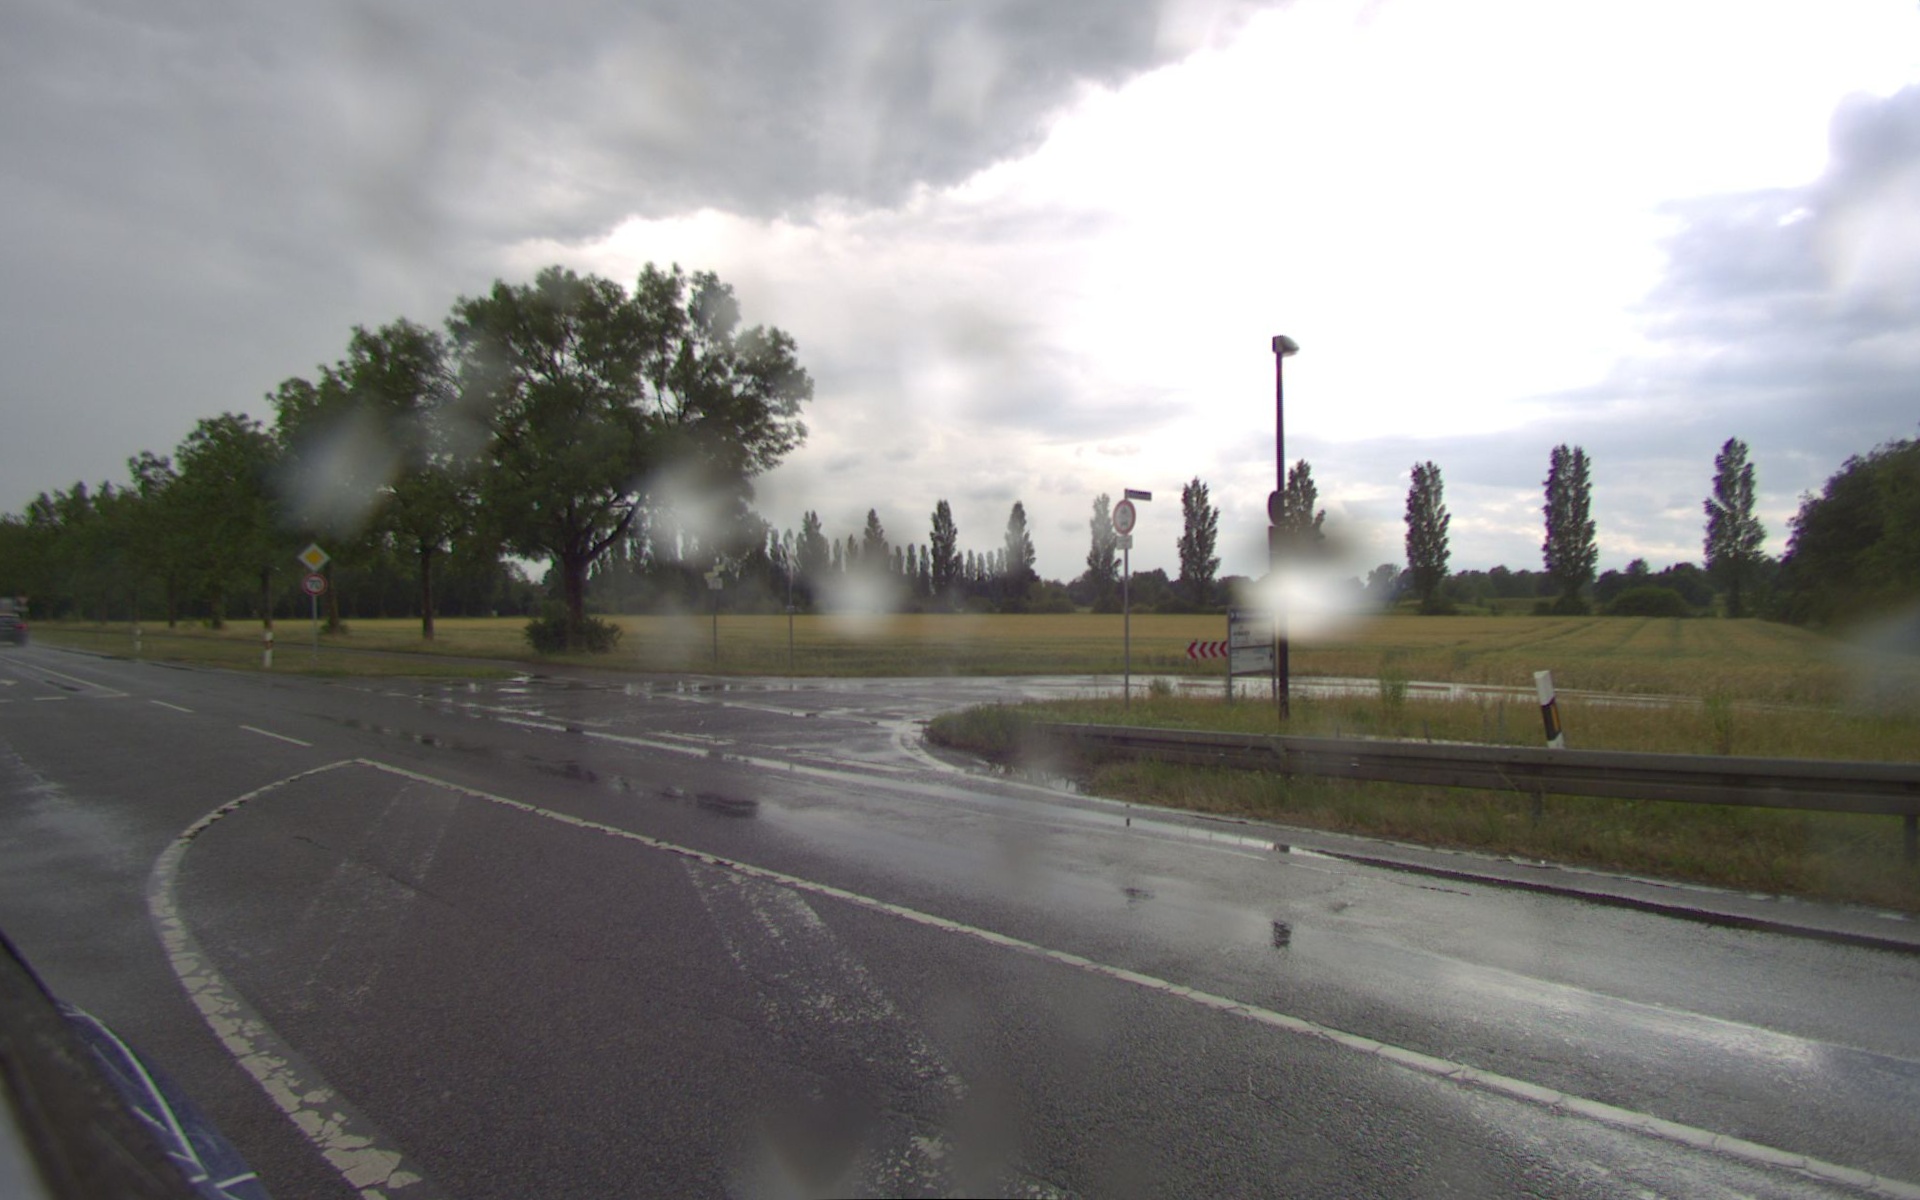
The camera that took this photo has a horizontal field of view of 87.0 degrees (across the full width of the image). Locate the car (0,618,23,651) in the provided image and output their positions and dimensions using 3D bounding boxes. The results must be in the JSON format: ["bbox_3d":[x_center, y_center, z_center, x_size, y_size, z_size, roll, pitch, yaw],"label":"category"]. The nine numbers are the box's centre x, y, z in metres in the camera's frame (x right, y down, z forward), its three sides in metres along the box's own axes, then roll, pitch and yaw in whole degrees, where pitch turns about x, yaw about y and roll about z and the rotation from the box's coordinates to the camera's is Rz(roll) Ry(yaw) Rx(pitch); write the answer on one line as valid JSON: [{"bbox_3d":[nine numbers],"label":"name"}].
[{"bbox_3d":[-47.369,1.670,49.568,4.140,1.535,1.750,-1,-3,42],"label":"car"}]
